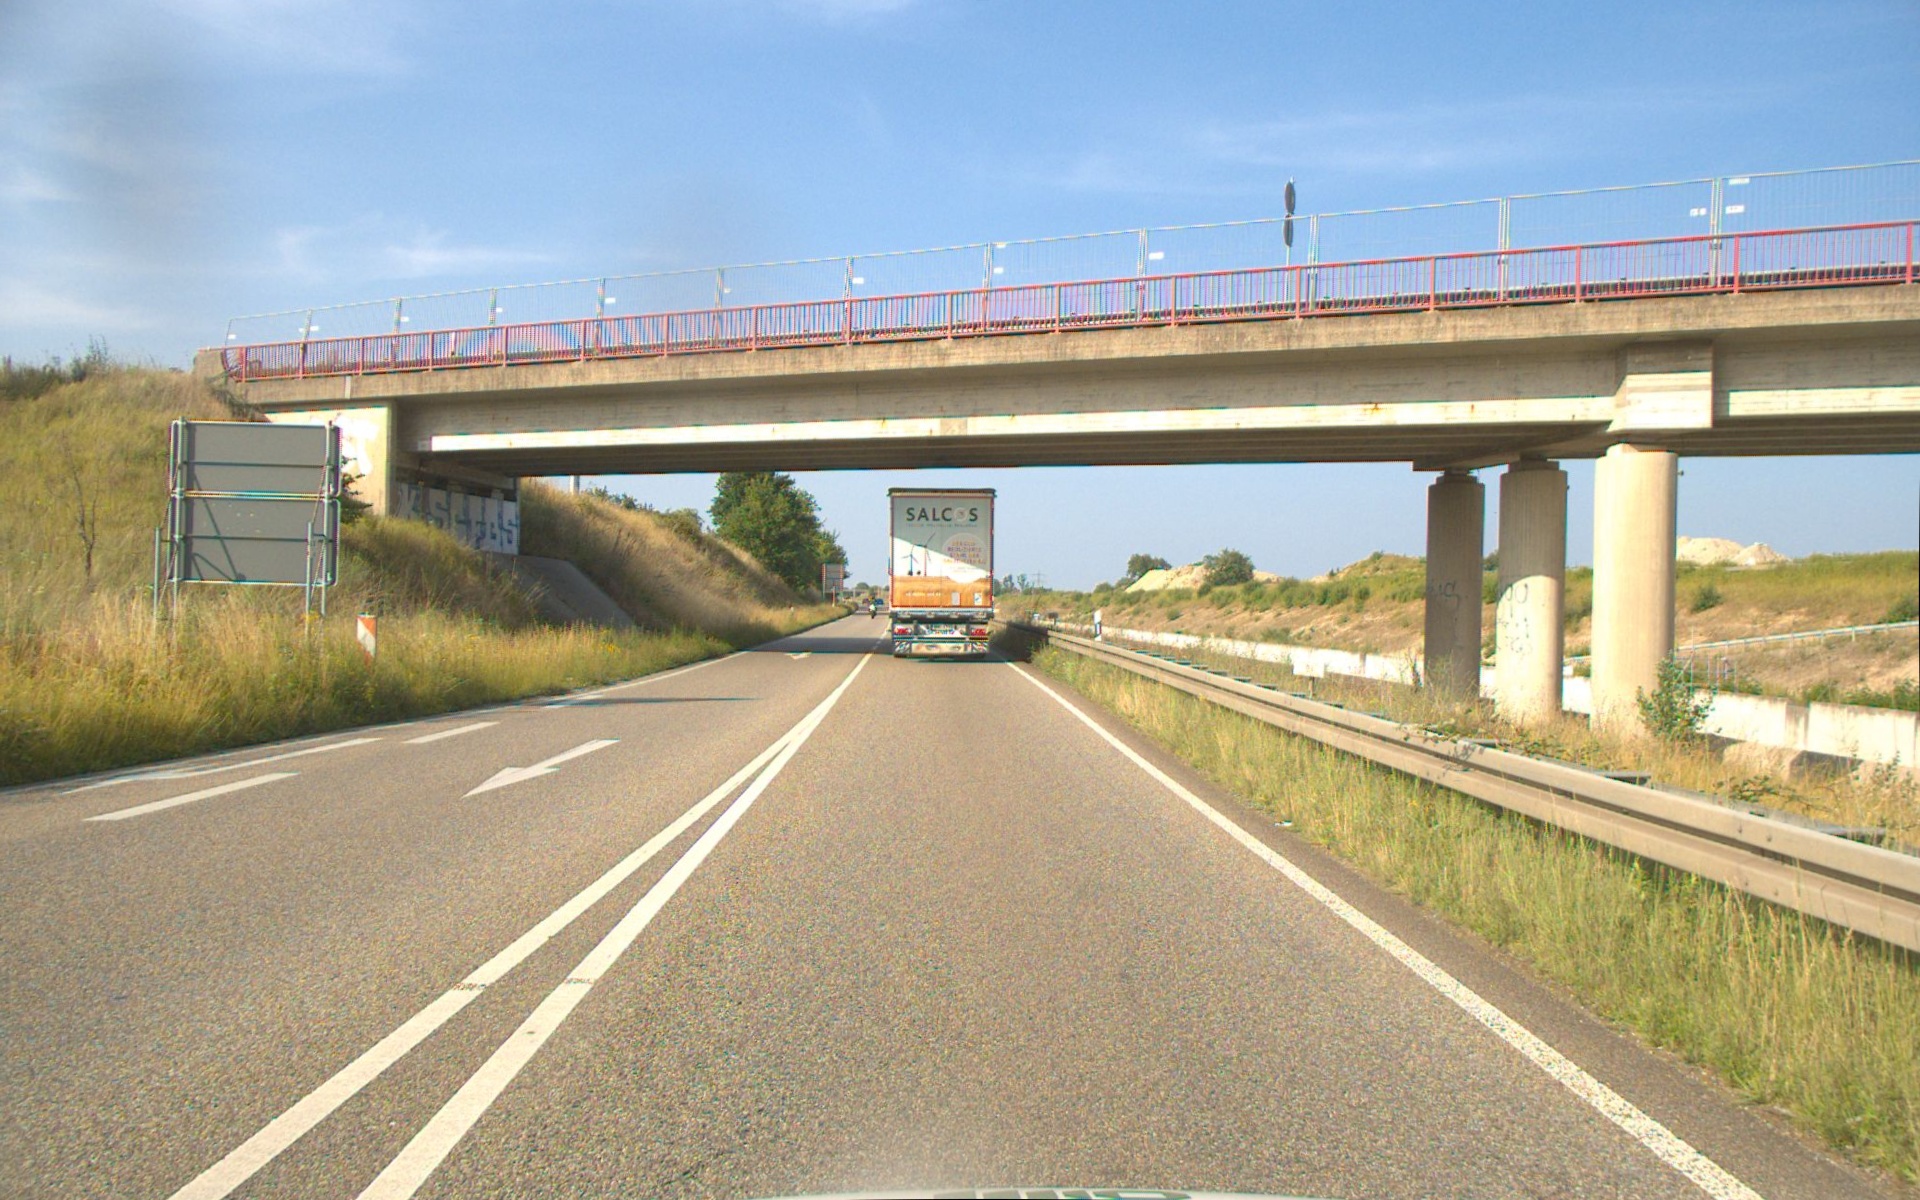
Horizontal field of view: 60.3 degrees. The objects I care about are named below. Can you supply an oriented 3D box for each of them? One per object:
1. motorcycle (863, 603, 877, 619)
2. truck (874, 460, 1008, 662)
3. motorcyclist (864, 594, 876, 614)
[{"bbox_3d":[-6.666,0.820,122.154,1.021,1.137,2.131,0,0,-4],"label":"motorcycle"},{"bbox_3d":[-0.665,-0.899,43.536,3.090,4.770,8.435,0,0,-4],"label":"truck"},{"bbox_3d":[-6.668,0.316,122.113,0.862,1.477,1.283,0,0,-4],"label":"motorcyclist"}]
